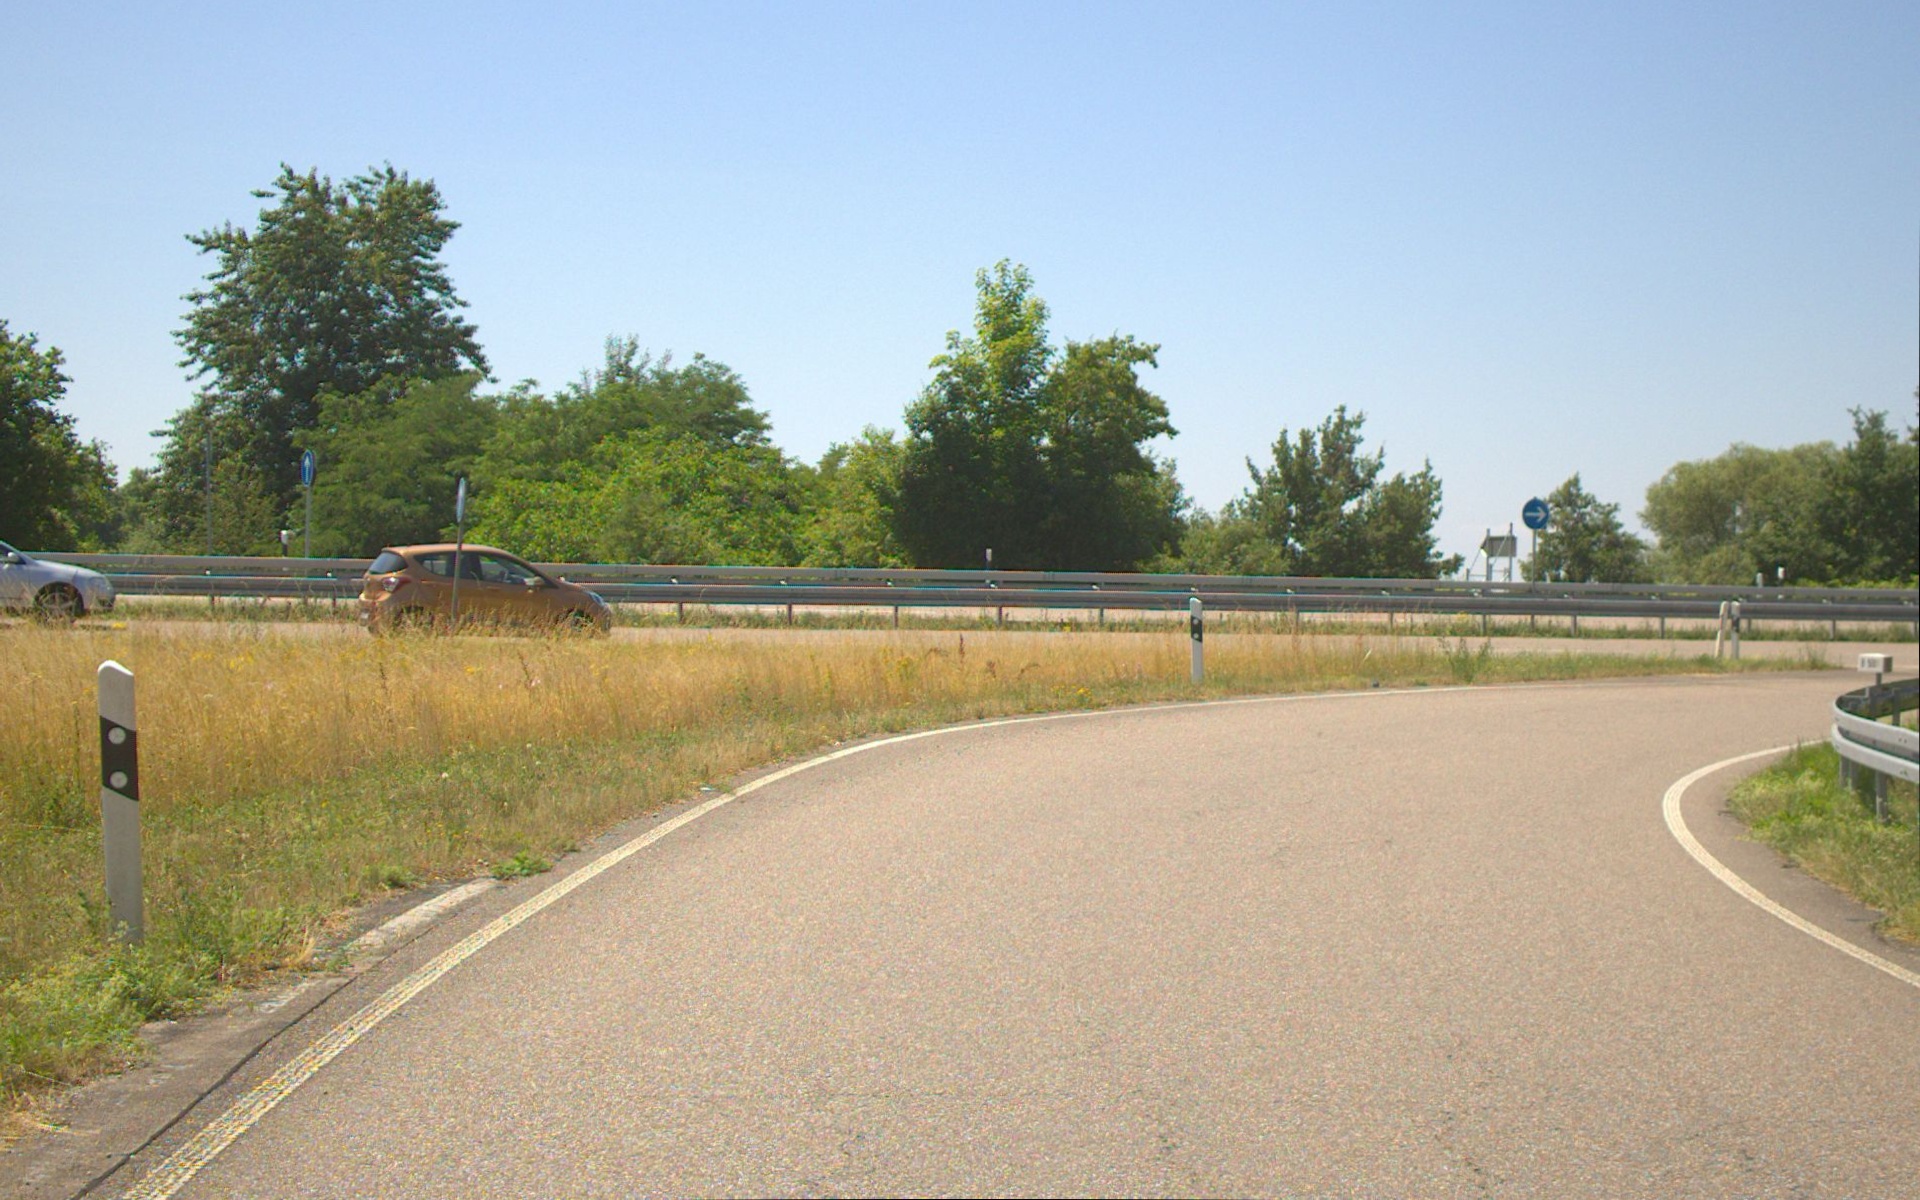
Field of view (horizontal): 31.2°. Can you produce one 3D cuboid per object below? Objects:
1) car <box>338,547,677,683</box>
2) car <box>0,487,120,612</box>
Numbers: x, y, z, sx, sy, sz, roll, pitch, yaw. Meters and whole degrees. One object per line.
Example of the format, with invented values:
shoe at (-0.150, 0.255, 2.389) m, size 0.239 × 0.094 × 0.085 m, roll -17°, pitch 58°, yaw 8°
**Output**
car at (-6.678, 0.220, 50.695) m, size 4.512 × 1.783 × 2.000 m, roll 3°, pitch 0°, yaw -23°
car at (-15.047, -0.763, 50.913) m, size 4.768 × 1.784 × 2.000 m, roll 1°, pitch -1°, yaw -23°
